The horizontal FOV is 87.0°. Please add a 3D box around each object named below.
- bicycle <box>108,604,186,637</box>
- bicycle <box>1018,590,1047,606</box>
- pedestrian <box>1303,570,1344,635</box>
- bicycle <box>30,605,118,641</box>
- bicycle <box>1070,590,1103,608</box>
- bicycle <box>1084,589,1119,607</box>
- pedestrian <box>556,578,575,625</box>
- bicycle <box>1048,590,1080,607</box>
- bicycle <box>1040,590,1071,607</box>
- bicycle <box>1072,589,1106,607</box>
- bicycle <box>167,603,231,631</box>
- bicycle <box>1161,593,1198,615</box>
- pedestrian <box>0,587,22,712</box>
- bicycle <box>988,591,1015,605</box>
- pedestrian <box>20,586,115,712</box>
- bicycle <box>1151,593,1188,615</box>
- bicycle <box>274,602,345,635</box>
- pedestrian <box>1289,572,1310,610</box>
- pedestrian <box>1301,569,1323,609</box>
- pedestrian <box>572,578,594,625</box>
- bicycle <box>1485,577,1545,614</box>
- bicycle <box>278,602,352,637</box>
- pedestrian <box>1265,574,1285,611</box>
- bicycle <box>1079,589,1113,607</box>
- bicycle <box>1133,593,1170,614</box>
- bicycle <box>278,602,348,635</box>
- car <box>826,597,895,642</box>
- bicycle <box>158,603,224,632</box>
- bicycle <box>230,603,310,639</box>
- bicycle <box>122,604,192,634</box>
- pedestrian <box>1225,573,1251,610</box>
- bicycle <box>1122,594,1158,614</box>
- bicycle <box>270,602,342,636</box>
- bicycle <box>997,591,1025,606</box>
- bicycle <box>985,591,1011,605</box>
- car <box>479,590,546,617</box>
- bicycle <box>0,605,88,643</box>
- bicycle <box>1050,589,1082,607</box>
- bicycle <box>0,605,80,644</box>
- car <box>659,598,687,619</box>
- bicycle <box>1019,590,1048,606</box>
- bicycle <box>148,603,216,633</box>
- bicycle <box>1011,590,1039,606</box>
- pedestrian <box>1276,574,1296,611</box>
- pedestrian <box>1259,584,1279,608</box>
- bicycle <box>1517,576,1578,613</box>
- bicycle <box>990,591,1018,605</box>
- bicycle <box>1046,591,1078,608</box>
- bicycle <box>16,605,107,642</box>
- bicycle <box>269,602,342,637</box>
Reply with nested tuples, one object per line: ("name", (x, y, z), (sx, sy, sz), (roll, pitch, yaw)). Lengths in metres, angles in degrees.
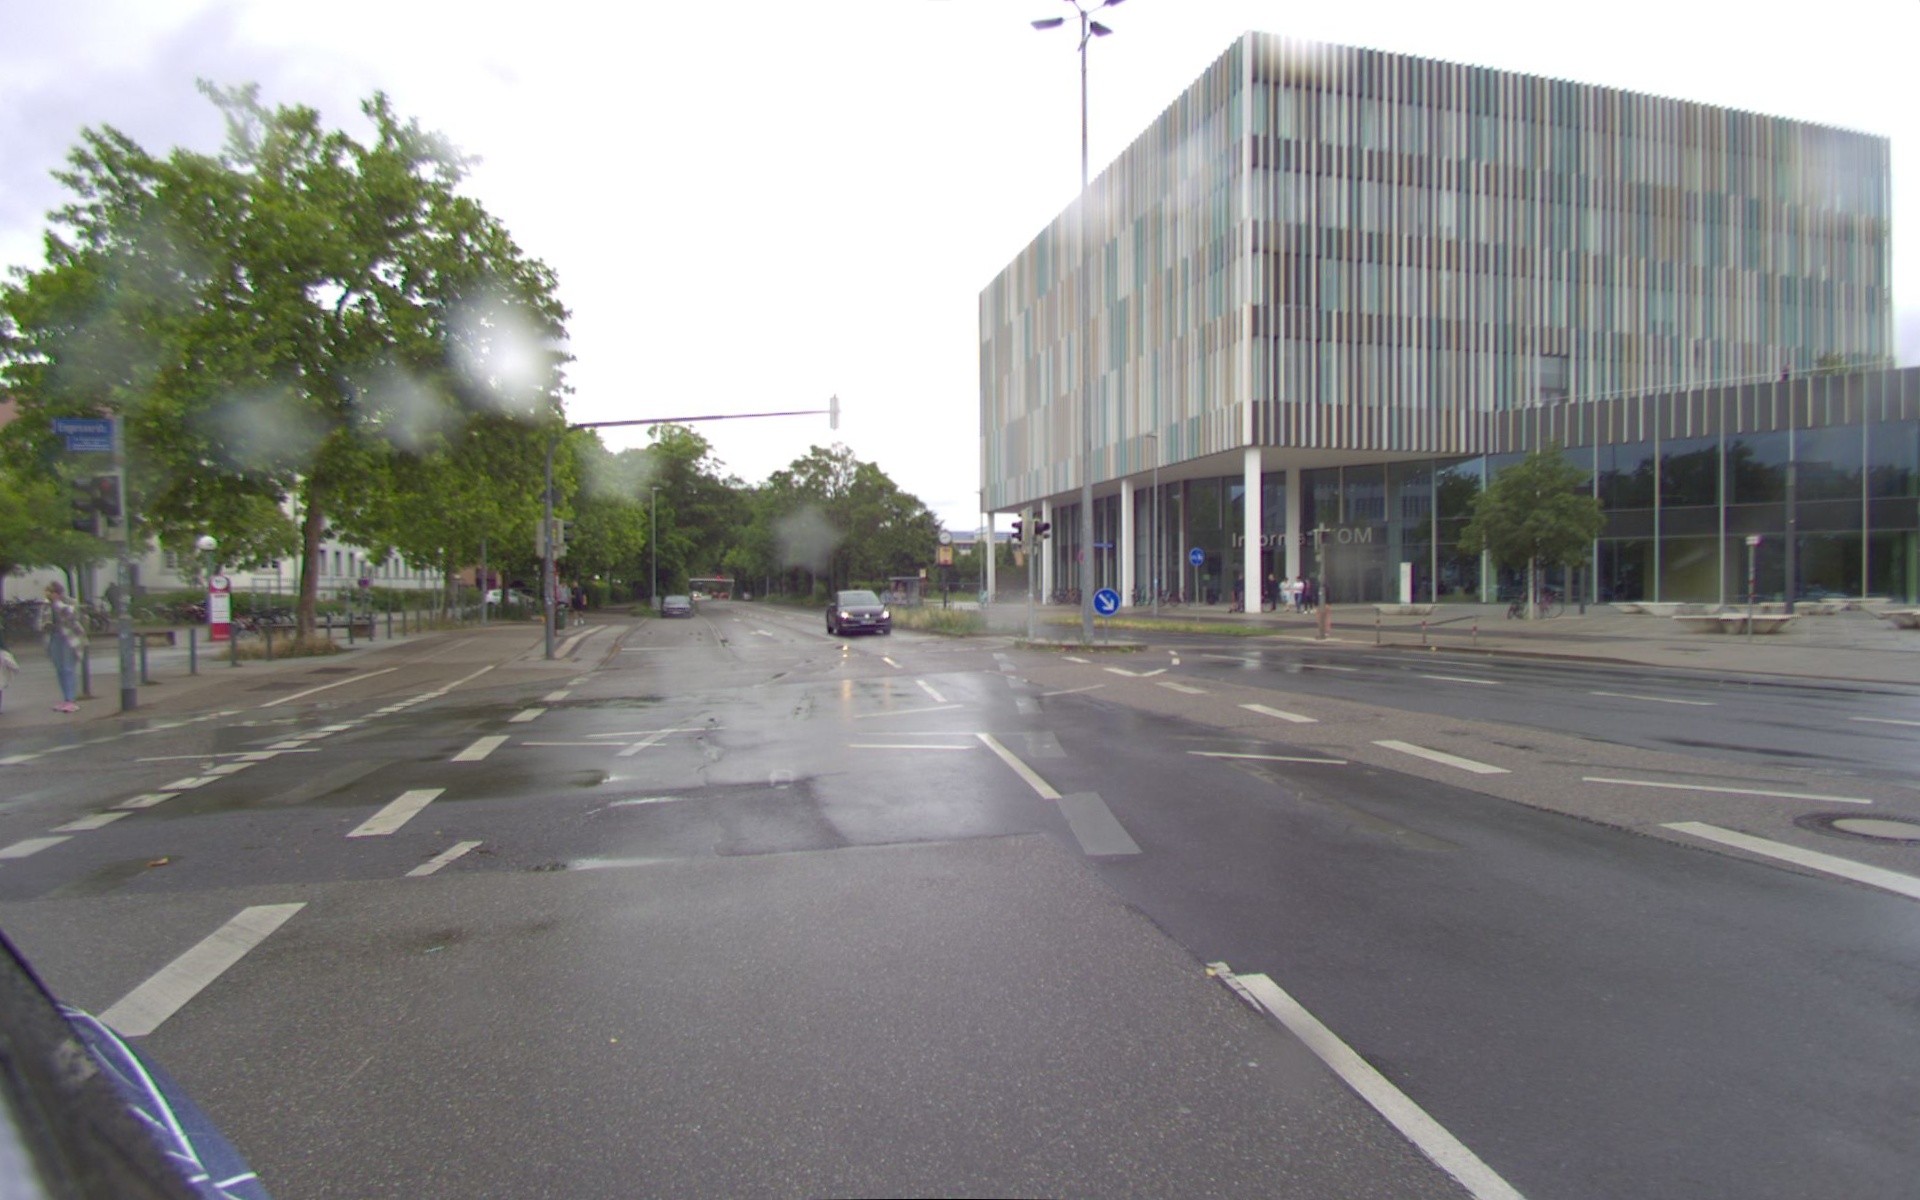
("bicycle", (-31.270, 0.777, 38.940), (2.246, 1.231, 0.601), (-1, 0, -25))
("bicycle", (5.861, -0.172, 81.407), (2.252, 1.231, 0.599), (-1, 0, -3))
("pedestrian", (10.575, 0.070, 29.442), (0.774, 1.838, 0.798), (-1, 0, -36))
("bicycle", (-31.257, 0.793, 35.745), (2.246, 1.231, 0.601), (-1, 0, -25))
("bicycle", (8.933, -0.070, 71.388), (2.252, 1.231, 0.599), (-1, 0, -3))
("bicycle", (9.550, -0.129, 68.405), (2.252, 1.231, 0.599), (-1, 0, -3))
("pedestrian", (-15.701, 0.053, 40.241), (0.614, 1.838, 0.789), (-1, 0, -27))
("bicycle", (7.603, -0.139, 74.133), (2.252, 1.231, 0.599), (-1, 0, -3))
("bicycle", (7.137, -0.125, 75.840), (2.252, 1.231, 0.599), (-1, 0, -3))
("bicycle", (8.995, -0.134, 70.461), (2.252, 1.231, 0.599), (-1, 0, -3))
("bicycle", (-34.751, 0.775, 46.238), (2.246, 1.231, 0.601), (-1, 0, -25))
("bicycle", (12.907, 0.224, 59.533), (2.246, 1.231, 0.601), (-1, 0, -25))
("pedestrian", (-12.962, 0.649, 13.308), (0.864, 1.619, 0.865), (-1, 0, 44))
("bicycle", (3.629, -0.169, 88.093), (2.252, 1.231, 0.599), (-1, 0, -3))
("pedestrian", (-12.067, 0.633, 13.717), (0.863, 1.619, 0.866), (-1, 0, -35))
("bicycle", (12.442, 0.226, 60.057), (2.246, 1.231, 0.601), (-1, 0, -25))
("bicycle", (-25.271, 0.714, 39.330), (2.246, 1.231, 0.601), (-1, 0, -25))
("pedestrian", (16.213, -0.429, 48.314), (0.774, 1.838, 0.626), (-1, 0, -36))
("pedestrian", (16.542, -0.517, 47.596), (0.774, 1.838, 0.626), (-1, 0, -36))
("pedestrian", (-15.159, 0.054, 40.666), (0.614, 1.838, 0.789), (-1, 0, -35))
("bicycle", (19.152, -0.158, 34.909), (2.246, 1.231, 0.601), (-1, 0, -25))
("bicycle", (-23.721, 0.708, 37.273), (2.246, 1.231, 0.601), (-1, 0, -25))
("pedestrian", (15.846, -0.363, 50.875), (0.774, 1.838, 0.626), (-1, 0, -36))
("bicycle", (9.319, -0.133, 69.471), (2.252, 1.231, 0.599), (-1, 0, -3))
("bicycle", (11.601, 0.229, 61.308), (2.246, 1.231, 0.601), (-1, 0, -25))
("bicycle", (-25.560, 0.713, 40.016), (2.246, 1.231, 0.601), (-1, 0, -25))
("car", (-3.404, 0.611, 33.975), (1.634, 1.375, 4.118), (-1, 0, -15))
("bicycle", (-34.340, 0.776, 45.232), (2.246, 1.231, 0.601), (-1, 0, -25))
("bicycle", (-24.115, 0.722, 35.406), (2.246, 1.231, 0.601), (-1, 0, -25))
("bicycle", (-33.765, 0.783, 42.589), (2.246, 1.231, 0.601), (-1, 0, -25))
("pedestrian", (14.205, -0.441, 51.731), (0.925, 1.838, 0.925), (-1, 0, -40))
("bicycle", (11.078, 0.229, 62.314), (2.246, 1.231, 0.601), (-1, 0, -25))
("bicycle", (-24.910, 0.714, 38.590), (2.246, 1.231, 0.601), (-1, 0, -25))
("bicycle", (4.264, -0.159, 84.754), (2.252, 1.231, 0.599), (-1, 0, -3))
("bicycle", (3.428, -0.180, 90.485), (2.252, 1.231, 0.599), (-1, 0, -3))
("car", (-32.711, 0.255, 74.063), (4.350, 1.887, 1.643), (-1, 0, -21))
("bicycle", (-30.890, 0.798, 34.051), (2.246, 1.231, 0.601), (-1, 0, -25))
("bicycle", (7.673, -0.135, 73.299), (2.252, 1.231, 0.599), (-1, 0, -3))
("bicycle", (-30.387, 0.791, 33.148), (2.246, 1.231, 0.601), (-1, 0, -25))
("car", (-17.990, 0.513, 63.510), (1.634, 1.276, 4.118), (-1, 0, -15))
("bicycle", (5.966, -0.169, 82.159), (2.252, 1.231, 0.599), (-1, 0, -3))
("bicycle", (-34.006, 0.777, 44.273), (2.246, 1.231, 0.601), (-1, 0, -25))
("bicycle", (5.364, -0.177, 83.408), (2.252, 1.231, 0.599), (-1, 0, -3))
("pedestrian", (16.567, -0.373, 51.399), (0.774, 1.838, 0.626), (-1, 0, -36))
("pedestrian", (15.254, -0.197, 49.923), (0.614, 1.161, 0.789), (-1, 0, -11))
("bicycle", (19.780, -0.187, 34.043), (2.246, 1.231, 0.601), (-1, 0, -25))
("bicycle", (3.763, -0.164, 86.692), (2.252, 1.231, 0.599), (-1, 0, -3))
("bicycle", (7.549, -0.074, 74.953), (2.252, 1.231, 0.599), (-1, 0, -3))
("bicycle", (-31.016, 0.794, 34.971), (2.246, 1.231, 0.601), (-1, 0, -25))
("bicycle", (-24.529, 0.713, 37.974), (2.246, 1.231, 0.601), (-1, 0, -25))
